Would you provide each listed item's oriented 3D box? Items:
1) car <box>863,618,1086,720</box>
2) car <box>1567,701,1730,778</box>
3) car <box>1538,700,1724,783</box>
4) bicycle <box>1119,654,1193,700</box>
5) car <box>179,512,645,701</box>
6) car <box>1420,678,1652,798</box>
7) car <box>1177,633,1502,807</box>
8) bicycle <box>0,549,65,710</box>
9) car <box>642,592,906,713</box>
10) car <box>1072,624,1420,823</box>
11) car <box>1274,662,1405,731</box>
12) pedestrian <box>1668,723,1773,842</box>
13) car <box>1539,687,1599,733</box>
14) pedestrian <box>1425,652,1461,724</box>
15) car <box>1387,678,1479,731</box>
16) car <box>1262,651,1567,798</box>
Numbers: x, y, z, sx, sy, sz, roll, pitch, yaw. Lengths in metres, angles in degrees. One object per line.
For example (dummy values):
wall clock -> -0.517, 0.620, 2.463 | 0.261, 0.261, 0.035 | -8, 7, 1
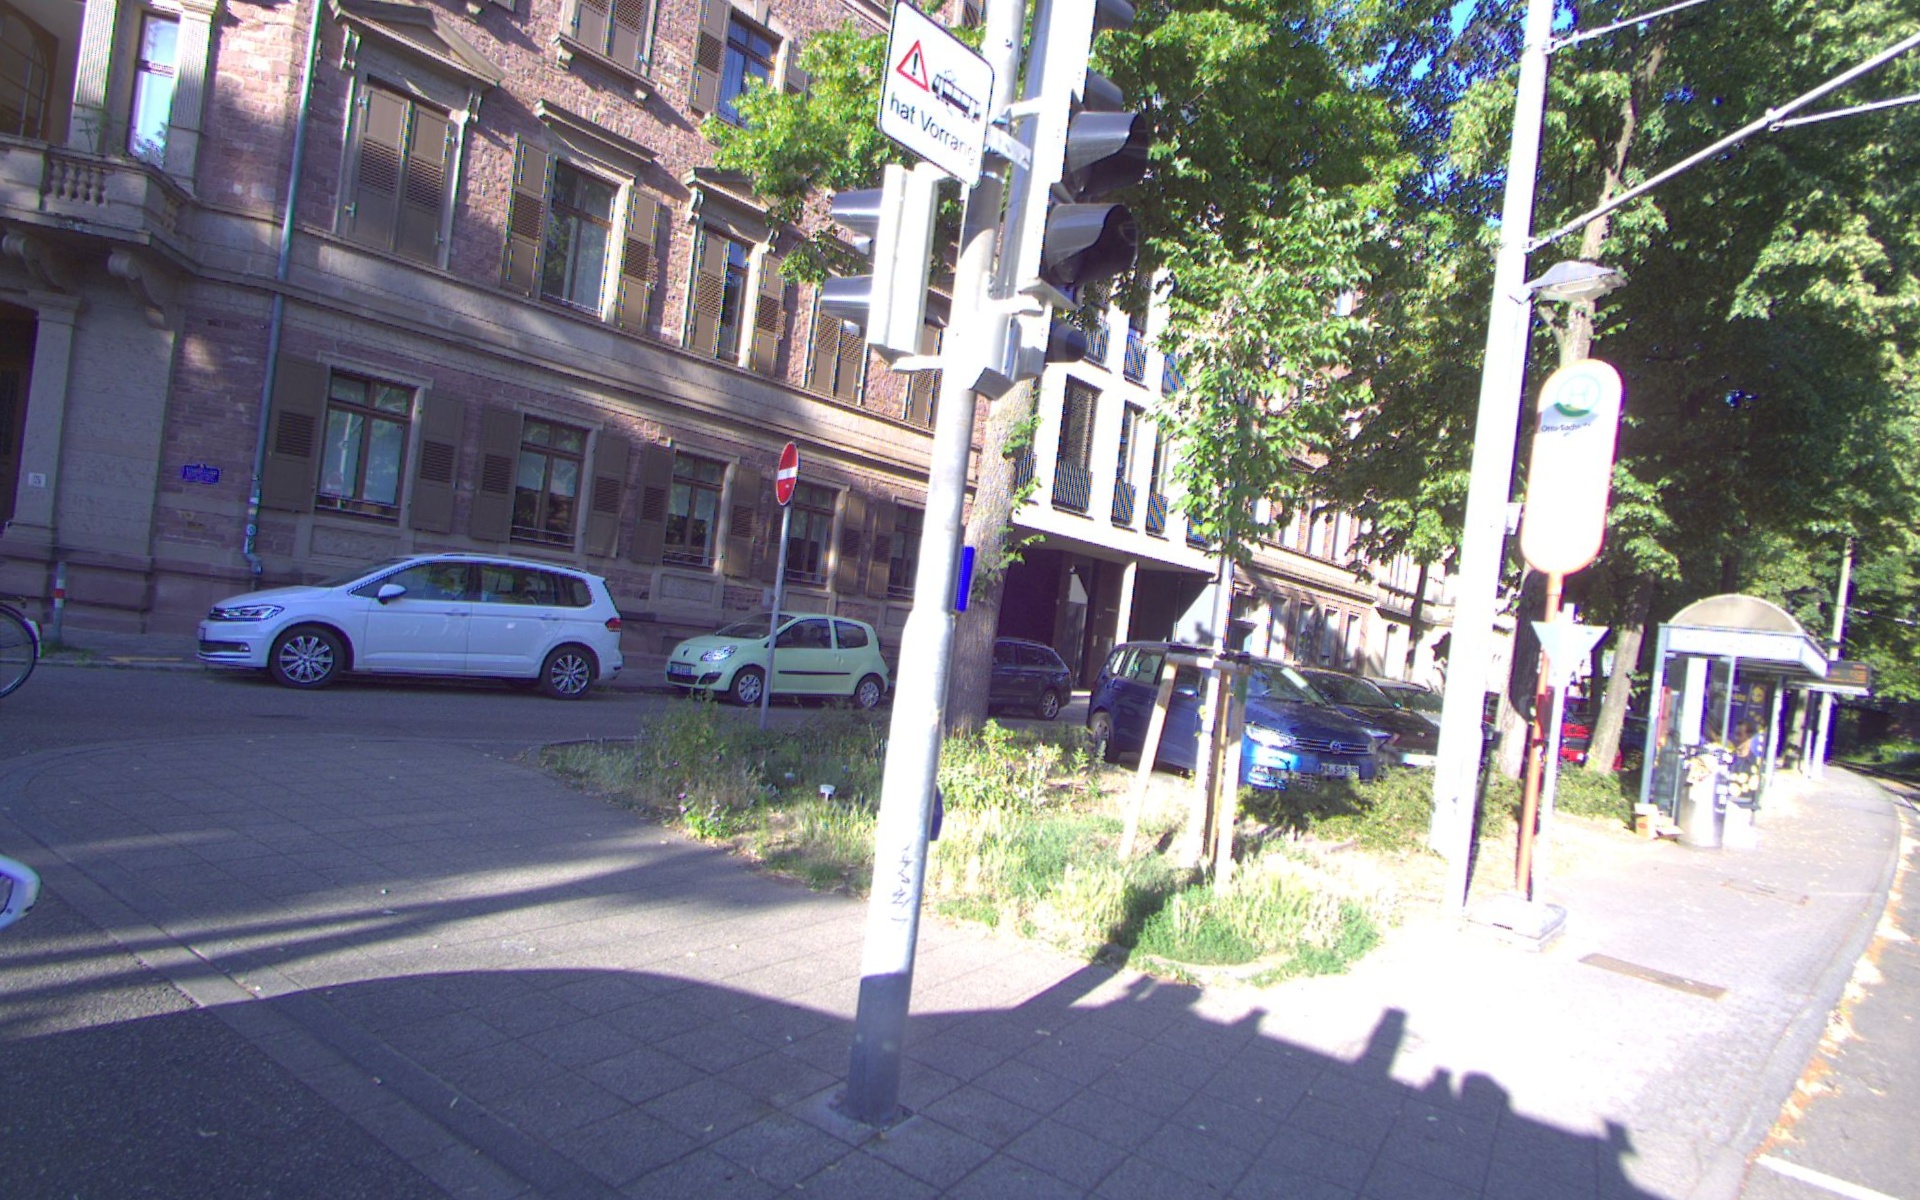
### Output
car -> 0.365, 1.353, 19.027 | 4.141, 1.506, 1.721 | 9, -4, -45
car -> 22.909, 4.614, 33.695 | 1.780, 1.715, 4.271 | 8, 0, -12
car -> 19.063, 3.984, 28.855 | 1.780, 1.505, 4.271 | 8, 0, -12
bicycle -> 6.041, 2.363, 30.963 | 2.066, 1.130, 0.680 | 8, 0, -18
car -> -6.371, 0.188, 12.097 | 1.852, 1.668, 4.474 | 4, -4, 45
car -> 12.314, 2.875, 21.951 | 1.896, 1.742, 4.548 | 8, 0, -6
car -> 5.154, 1.567, 14.485 | 1.900, 1.654, 4.537 | 8, 0, -15
bicycle -> -7.319, 0.101, 6.533 | 0.691, 1.067, 2.114 | 7, -1, 42
car -> -2.838, 0.874, 15.879 | 1.720, 1.506, 3.707 | 4, -4, 43
car -> 3.143, 1.313, 12.155 | 1.717, 1.707, 4.404 | 8, -2, -18
car -> 11.665, 2.979, 30.740 | 1.973, 1.586, 4.570 | 8, 0, 44
pedestrian -> 9.478, 2.252, 12.536 | 0.872, 1.288, 0.814 | 8, 0, -45
car -> 35.108, 6.345, 57.939 | 1.972, 2.198, 4.593 | 8, 0, 41
pedestrian -> 20.847, 3.795, 43.386 | 0.908, 2.983, 0.697 | 8, 0, 41
car -> 18.041, 4.004, 38.285 | 1.971, 1.586, 4.225 | 8, 0, 40
car -> 7.066, 1.882, 16.286 | 1.900, 1.505, 4.537 | 8, 0, -15
